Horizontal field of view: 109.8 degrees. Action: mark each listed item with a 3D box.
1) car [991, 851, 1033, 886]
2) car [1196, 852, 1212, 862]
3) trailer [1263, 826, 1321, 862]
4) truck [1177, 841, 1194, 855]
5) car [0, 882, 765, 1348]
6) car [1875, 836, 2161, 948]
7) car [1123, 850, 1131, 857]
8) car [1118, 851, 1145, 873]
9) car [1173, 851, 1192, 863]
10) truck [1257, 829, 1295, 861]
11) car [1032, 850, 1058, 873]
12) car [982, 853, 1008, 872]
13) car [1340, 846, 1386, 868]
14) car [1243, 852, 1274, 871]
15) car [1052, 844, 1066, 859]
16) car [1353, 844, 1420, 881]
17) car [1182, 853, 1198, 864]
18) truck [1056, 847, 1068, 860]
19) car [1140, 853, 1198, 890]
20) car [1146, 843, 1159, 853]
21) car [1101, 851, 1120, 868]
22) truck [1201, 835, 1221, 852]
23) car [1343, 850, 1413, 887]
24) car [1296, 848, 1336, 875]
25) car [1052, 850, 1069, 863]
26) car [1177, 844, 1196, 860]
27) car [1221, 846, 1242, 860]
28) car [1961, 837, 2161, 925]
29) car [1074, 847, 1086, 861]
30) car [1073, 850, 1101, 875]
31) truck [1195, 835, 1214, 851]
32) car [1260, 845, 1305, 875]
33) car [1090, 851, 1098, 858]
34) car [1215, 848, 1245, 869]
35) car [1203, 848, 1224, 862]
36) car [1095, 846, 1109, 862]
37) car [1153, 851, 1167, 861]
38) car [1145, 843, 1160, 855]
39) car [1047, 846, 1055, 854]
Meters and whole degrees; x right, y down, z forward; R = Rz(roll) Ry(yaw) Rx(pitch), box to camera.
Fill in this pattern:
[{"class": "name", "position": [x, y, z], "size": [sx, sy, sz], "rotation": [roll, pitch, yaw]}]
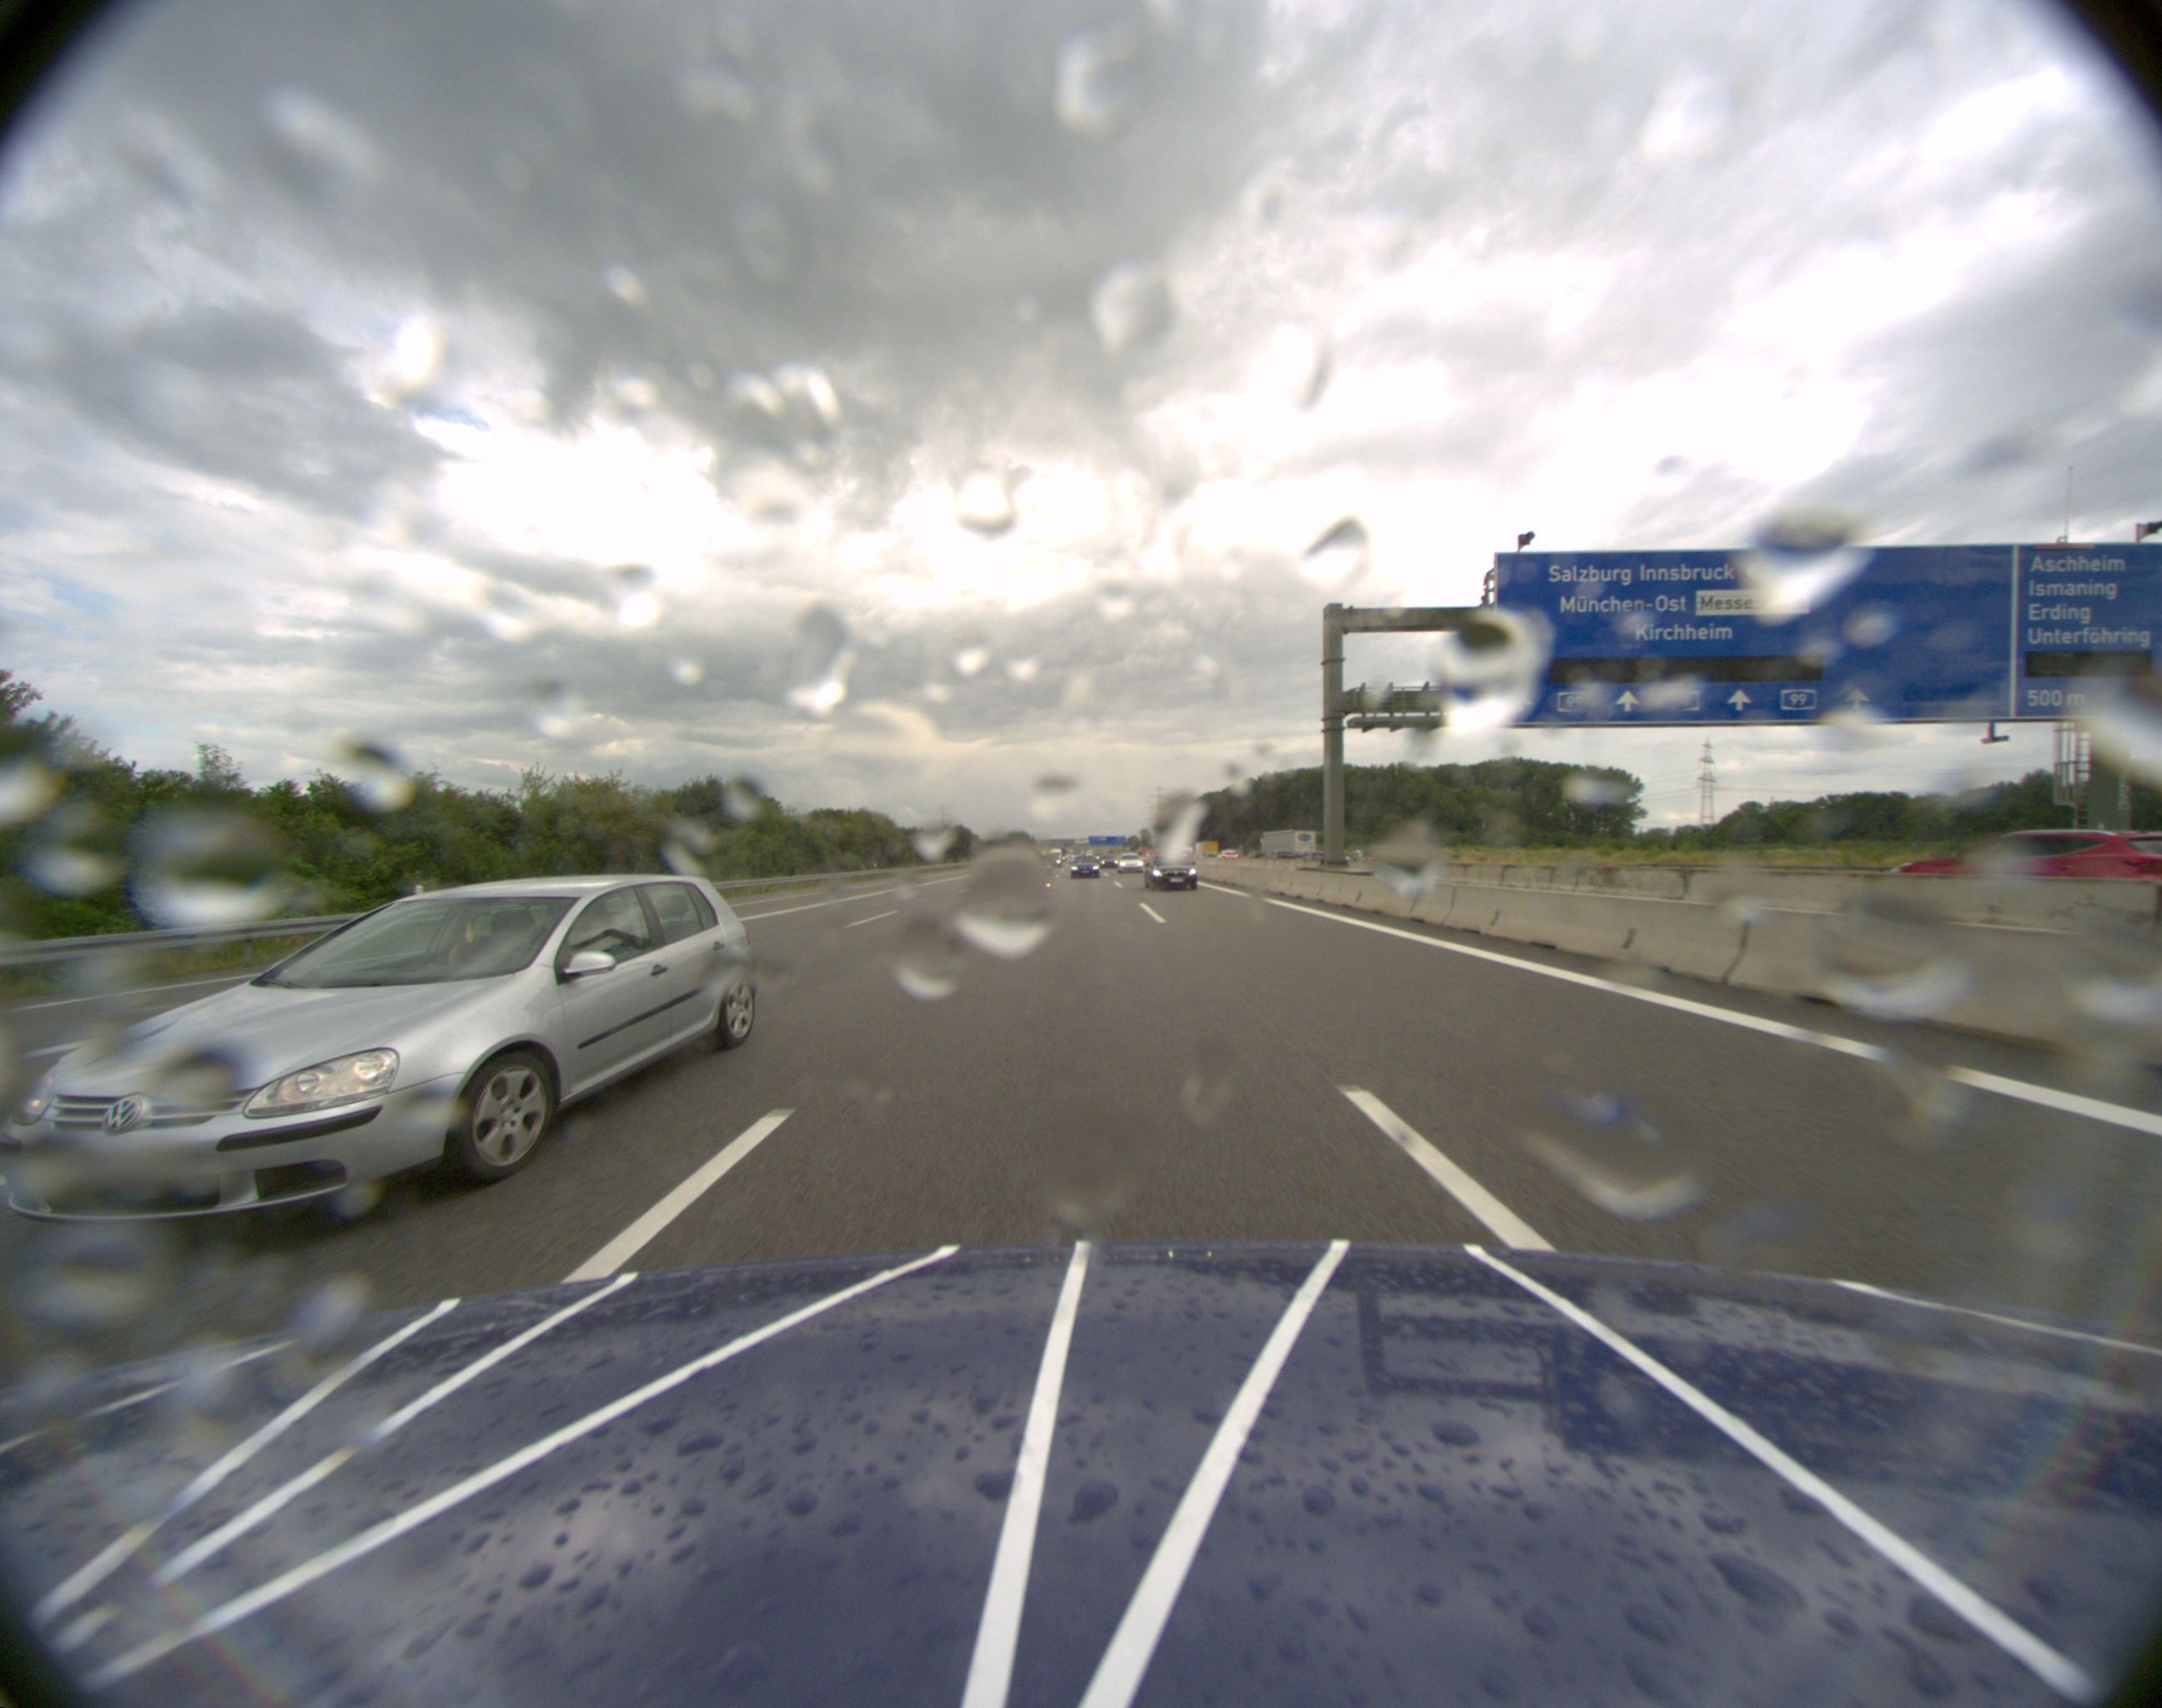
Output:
[{"class": "car", "position": [-3.456, 0.693, 38.768], "size": [1.785, 1.603, 4.597], "rotation": [-2, 0, -2]}, {"class": "car", "position": [21.922, 0.539, 135.440], "size": [1.999, 1.704, 4.698], "rotation": [-2, 0, 0]}, {"class": "trailer", "position": [25.807, -1.112, 93.897], "size": [3.247, 4.005, 13.807], "rotation": [-2, 0, 0]}, {"class": "truck", "position": [26.401, -1.510, 193.173], "size": [2.917, 3.271, 9.200], "rotation": [-2, 0, 0]}, {"class": "car", "position": [-3.704, 1.006, 4.694], "size": [1.800, 1.468, 4.037], "rotation": [-2, 0, -1]}, {"class": "car", "position": [17.825, 0.580, 14.092], "size": [1.682, 1.735, 4.337], "rotation": [-2, 0, 0]}, {"class": "car", "position": [13.371, -0.161, 219.504], "size": [1.999, 1.955, 4.696], "rotation": [-2, 0, -1]}, {"class": "car", "position": [3.826, 0.613, 57.706], "size": [1.822, 1.565, 4.000], "rotation": [-2, 0, 1]}, {"class": "car", "position": [14.554, 0.417, 108.828], "size": [1.999, 1.704, 4.871], "rotation": [-2, 0, 0]}, {"class": "truck", "position": [25.813, -1.097, 100.868], "size": [3.229, 4.034, 6.232], "rotation": [-2, 0, 0]}, {"class": "car", "position": [-2.728, 0.560, 58.067], "size": [1.711, 1.621, 4.457], "rotation": [-2, 0, 1]}, {"class": "car", "position": [-7.492, 0.736, 66.636], "size": [1.815, 1.589, 4.694], "rotation": [-2, 0, -2]}, {"class": "car", "position": [26.285, 0.296, 70.999], "size": [2.437, 1.941, 4.828], "rotation": [-2, 0, 1]}, {"class": "car", "position": [18.297, 0.766, 78.507], "size": [1.998, 1.862, 4.760], "rotation": [-2, 0, 0]}, {"class": "car", "position": [-3.597, -0.417, 125.552], "size": [2.145, 2.486, 5.447], "rotation": [-2, 0, -1]}, {"class": "car", "position": [17.695, 0.462, 44.292], "size": [1.998, 2.002, 4.760], "rotation": [-2, 0, 0]}, {"class": "car", "position": [18.163, 0.703, 127.068], "size": [1.999, 1.704, 4.698], "rotation": [-2, 0, 0]}, {"class": "truck", "position": [-4.172, -0.055, 166.477], "size": [2.392, 2.726, 6.591], "rotation": [-2, 0, -3]}, {"class": "car", "position": [3.495, 0.675, 30.901], "size": [1.923, 1.407, 4.000], "rotation": [-1, 0, 1]}, {"class": "car", "position": [14.169, -1.144, 150.422], "size": [1.999, 2.002, 4.424], "rotation": [-2, 0, 0]}, {"class": "car", "position": [2.928, 0.504, 76.030], "size": [1.711, 1.621, 4.000], "rotation": [-2, 0, 1]}, {"class": "truck", "position": [28.843, -2.380, 169.188], "size": [2.885, 3.591, 9.580], "rotation": [-2, 0, 1]}, {"class": "car", "position": [13.998, 0.642, 36.009], "size": [1.733, 1.586, 4.000], "rotation": [-2, 0, 0]}, {"class": "car", "position": [18.422, 0.582, 59.631], "size": [1.888, 2.002, 4.000], "rotation": [-2, 0, 0]}, {"class": "car", "position": [-2.437, 0.283, 90.432], "size": [1.945, 1.482, 4.774], "rotation": [-2, 0, -3]}, {"class": "car", "position": [21.506, -0.428, 155.477], "size": [2.667, 3.258, 6.561], "rotation": [-2, 0, -1]}, {"class": "car", "position": [21.895, -0.120, 110.425], "size": [1.998, 1.862, 5.392], "rotation": [-2, 0, 0]}, {"class": "car", "position": [25.835, 0.603, 19.203], "size": [1.913, 2.002, 4.561], "rotation": [-2, 0, 0]}, {"class": "car", "position": [-0.169, 0.065, 143.143], "size": [2.145, 2.486, 5.447], "rotation": [-2, 0, 0]}, {"class": "car", "position": [0.401, 0.531, 49.546], "size": [1.711, 1.562, 4.346], "rotation": [-2, 0, 1]}, {"class": "truck", "position": [28.918, -2.436, 178.538], "size": [2.885, 3.591, 10.311], "rotation": [-2, 0, 1]}, {"class": "car", "position": [14.562, 0.412, 55.235], "size": [1.998, 2.002, 4.760], "rotation": [-2, 0, 0]}, {"class": "car", "position": [3.615, 0.133, 214.636], "size": [1.998, 2.002, 4.751], "rotation": [-2, 0, 1]}, {"class": "car", "position": [14.265, 0.448, 72.926], "size": [1.998, 1.880, 4.362], "rotation": [-2, 0, 0]}, {"class": "car", "position": [18.267, 0.109, 104.715], "size": [1.998, 1.862, 4.760], "rotation": [-2, 0, 0]}, {"class": "car", "position": [3.269, 0.026, 120.830], "size": [2.145, 2.486, 5.448], "rotation": [-2, 0, 1]}, {"class": "car", "position": [13.927, 0.317, 133.841], "size": [1.999, 1.739, 4.000], "rotation": [-2, 0, 0]}, {"class": "car", "position": [13.413, -0.926, 142.766], "size": [1.999, 2.002, 5.757], "rotation": [-2, 0, -1]}, {"class": "car", "position": [-8.011, -1.143, 203.254], "size": [1.999, 2.002, 4.354], "rotation": [-2, 0, -2]}]
